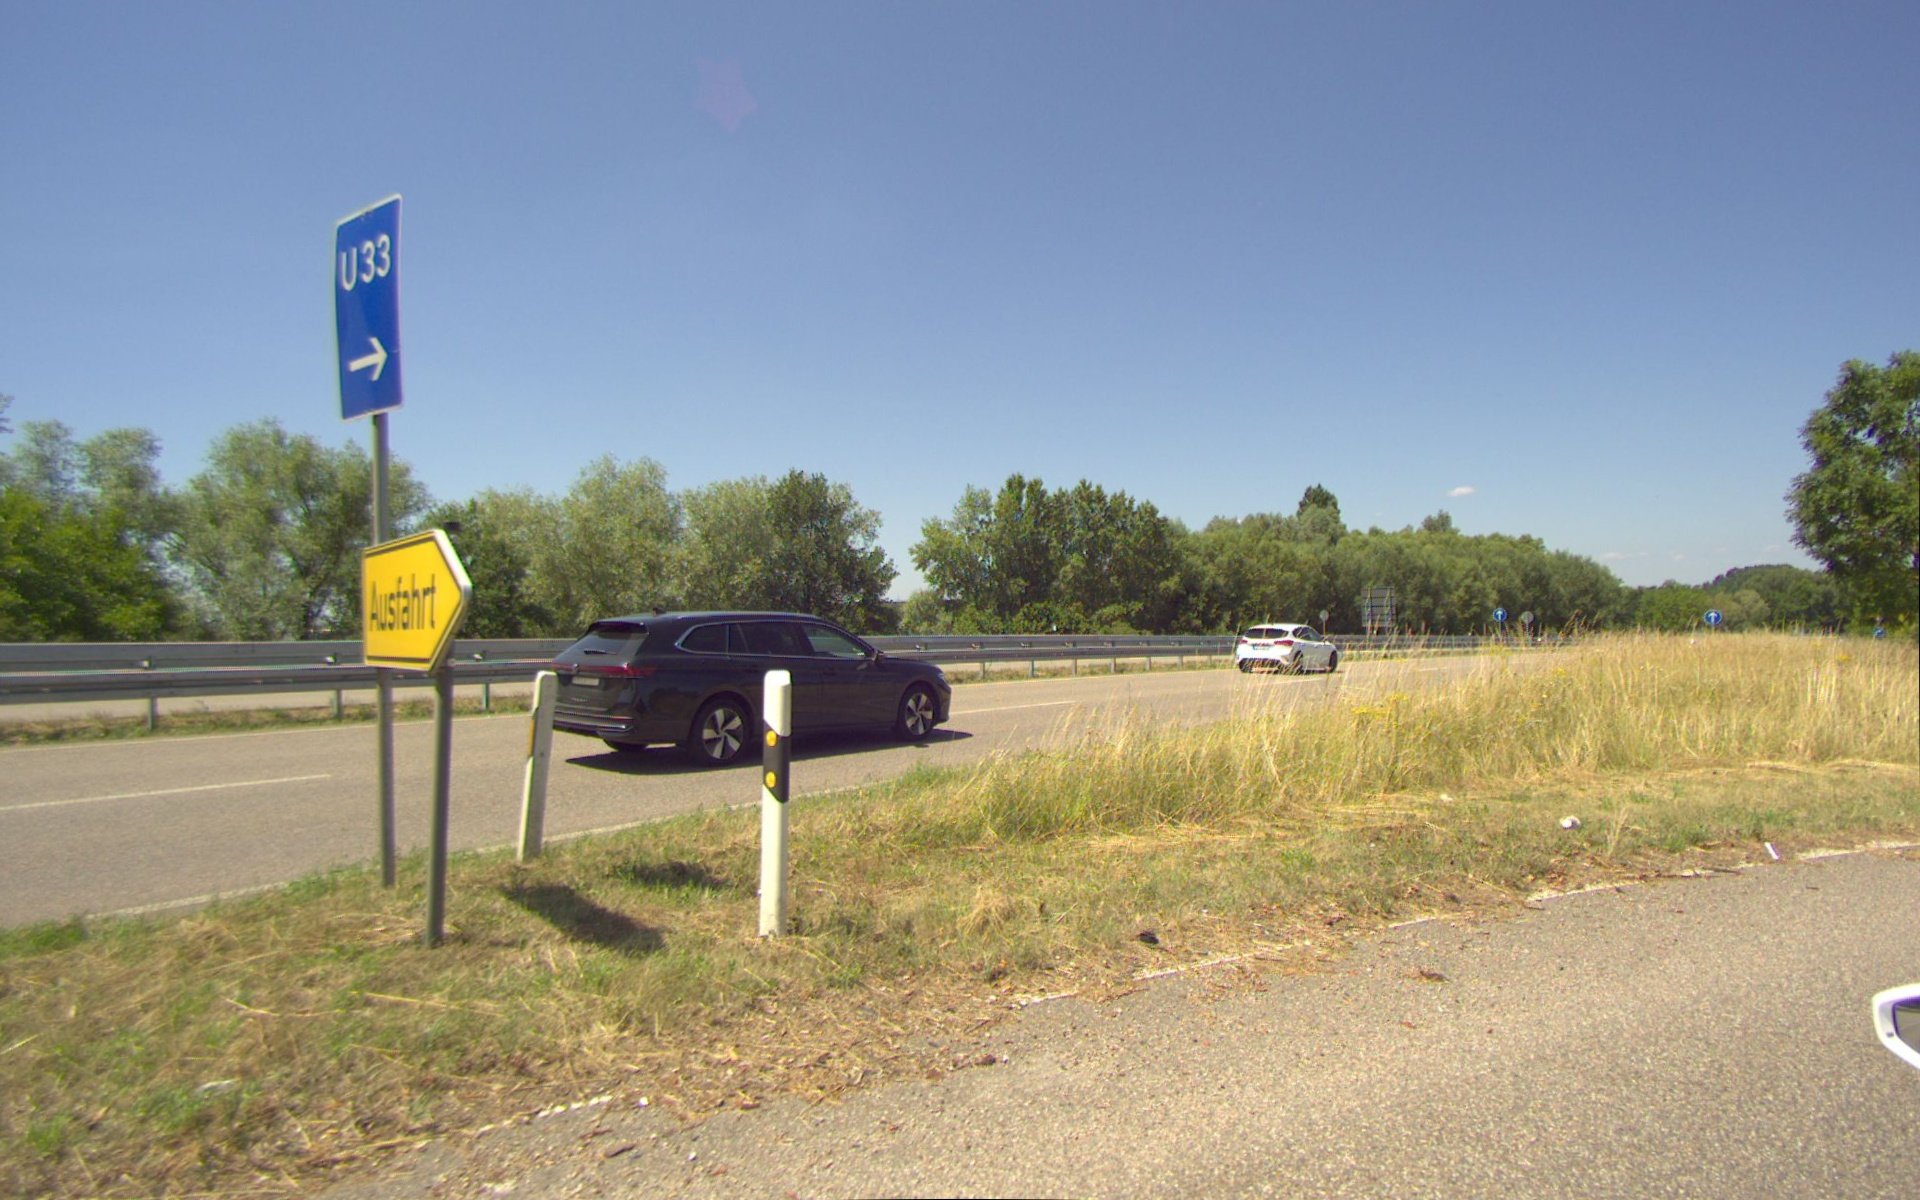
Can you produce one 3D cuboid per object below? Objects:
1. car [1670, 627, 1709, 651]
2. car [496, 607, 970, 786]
[{"bbox_3d":[55.444,2.967,76.301,2.012,1.695,3.980,1,-1,41],"label":"car"},{"bbox_3d":[-2.167,0.864,10.997,1.862,1.500,4.982,0,-1,39],"label":"car"}]
